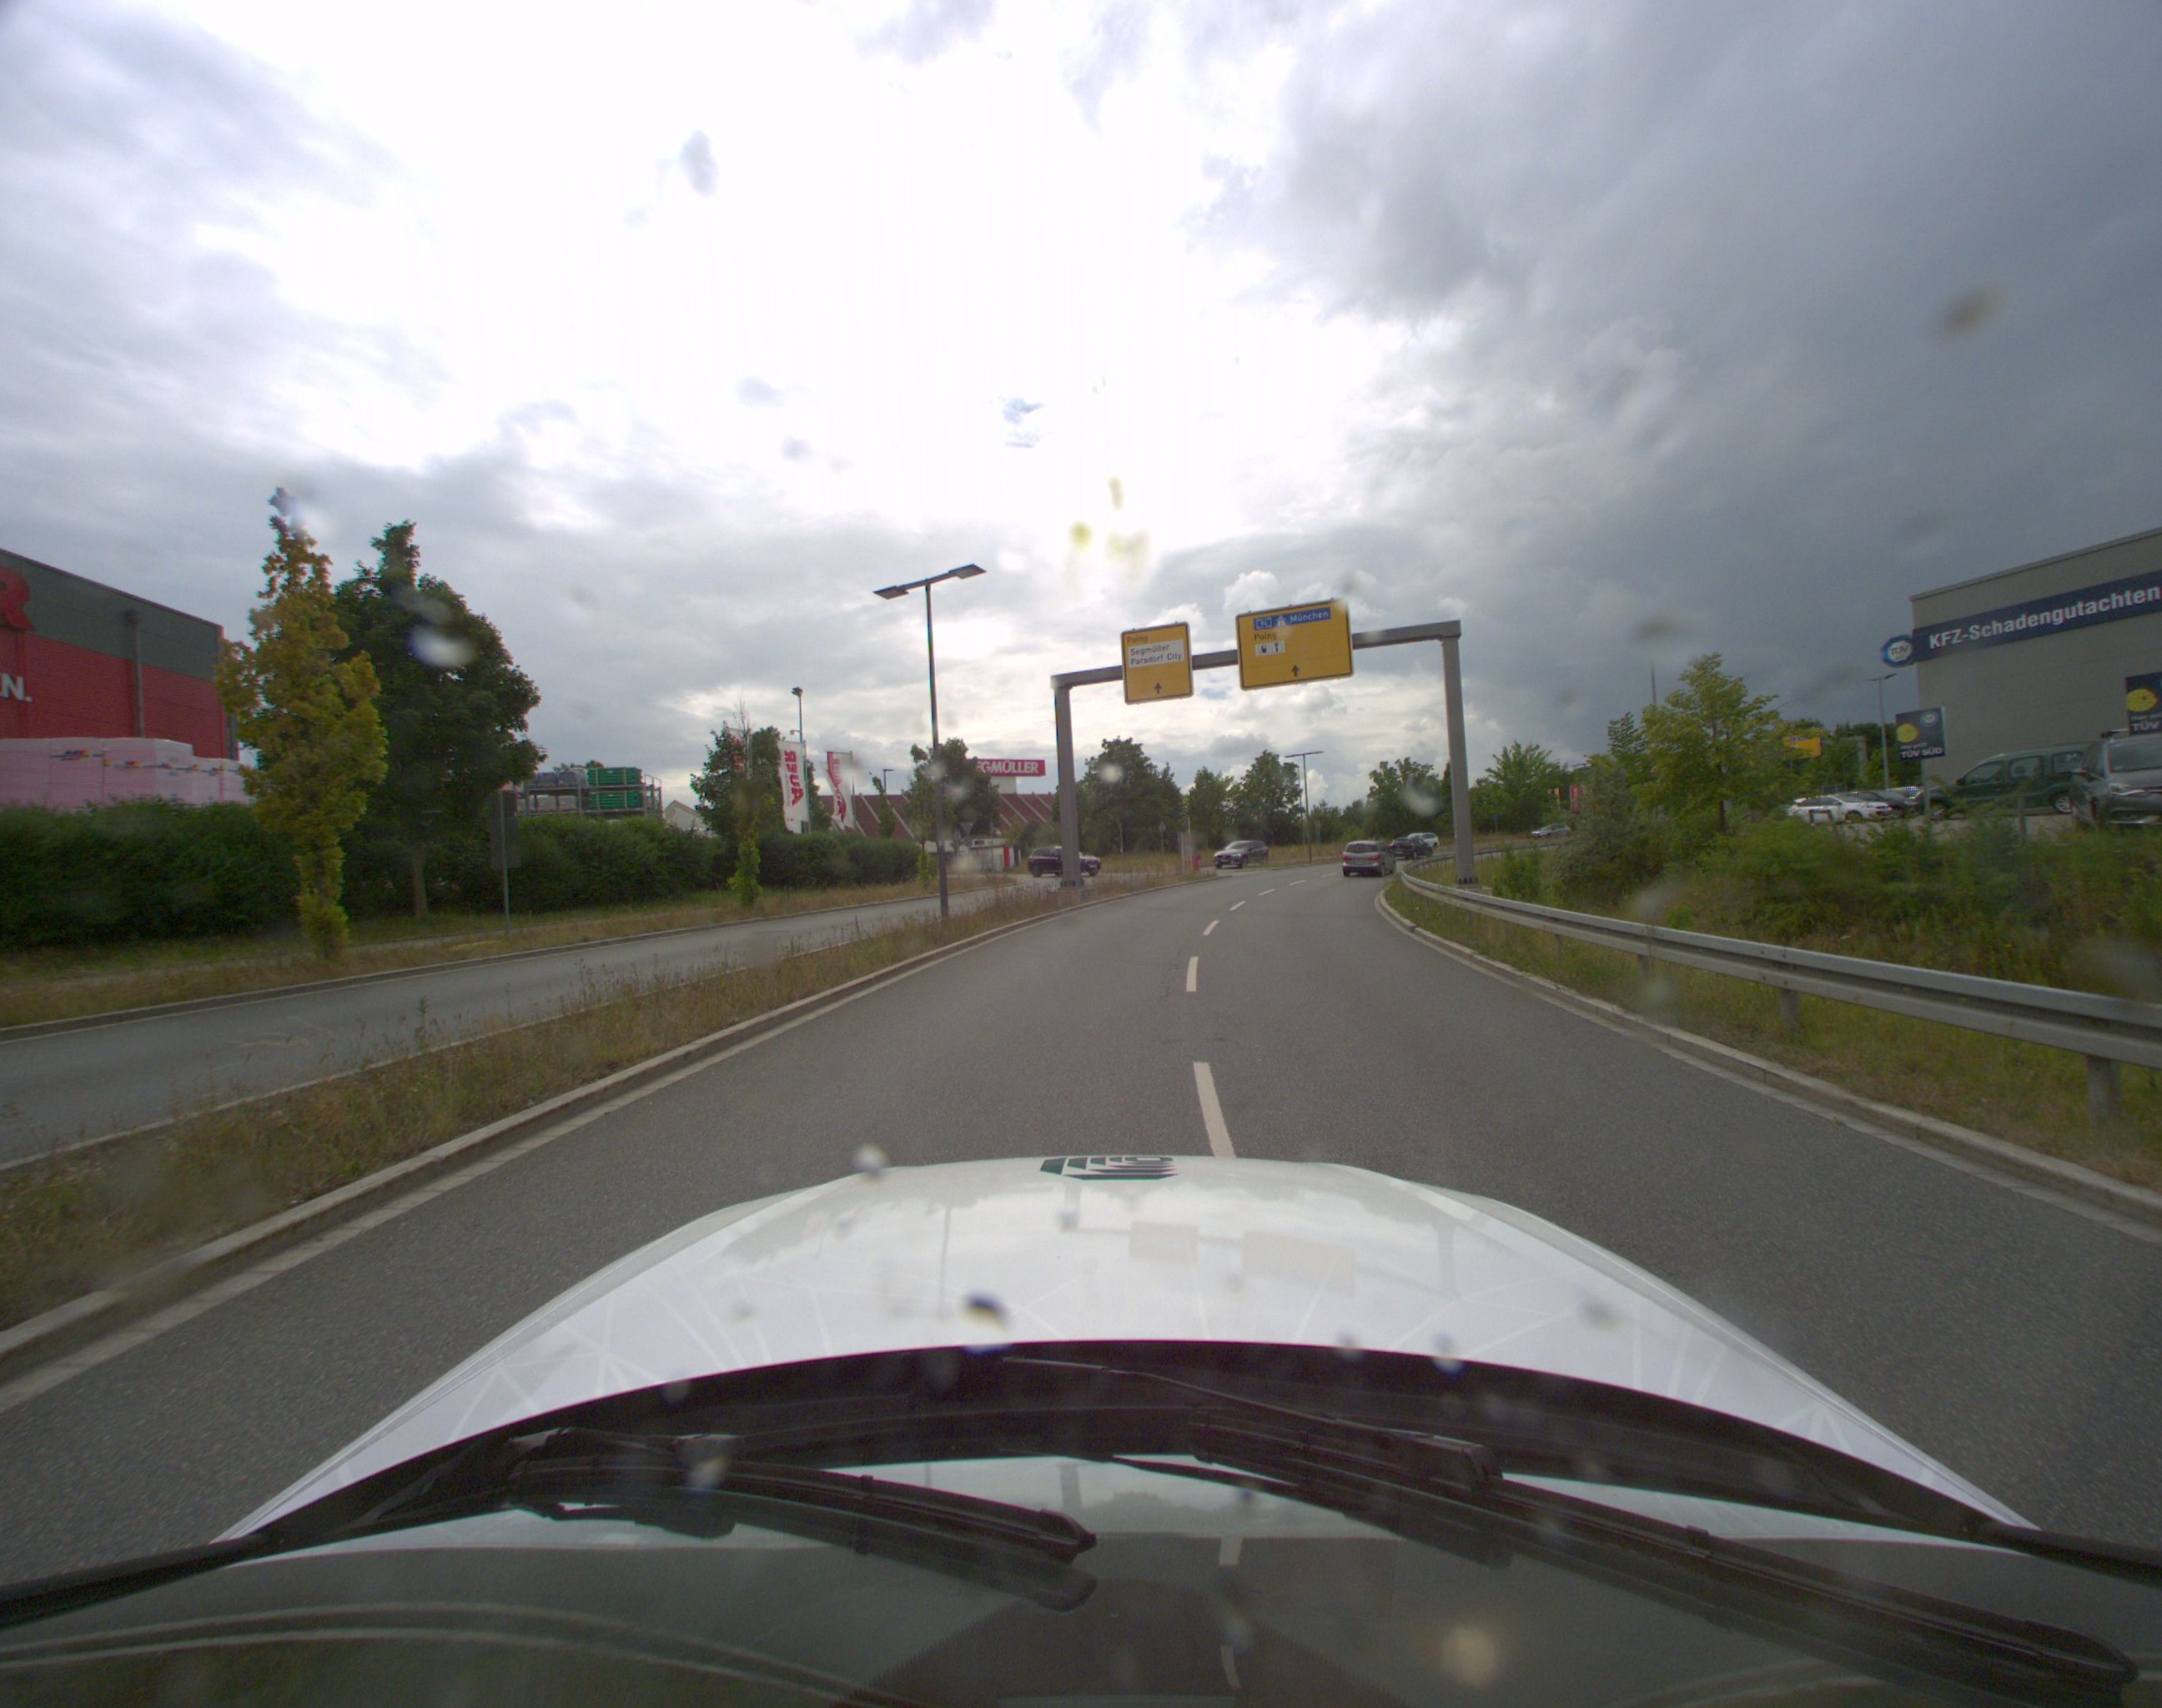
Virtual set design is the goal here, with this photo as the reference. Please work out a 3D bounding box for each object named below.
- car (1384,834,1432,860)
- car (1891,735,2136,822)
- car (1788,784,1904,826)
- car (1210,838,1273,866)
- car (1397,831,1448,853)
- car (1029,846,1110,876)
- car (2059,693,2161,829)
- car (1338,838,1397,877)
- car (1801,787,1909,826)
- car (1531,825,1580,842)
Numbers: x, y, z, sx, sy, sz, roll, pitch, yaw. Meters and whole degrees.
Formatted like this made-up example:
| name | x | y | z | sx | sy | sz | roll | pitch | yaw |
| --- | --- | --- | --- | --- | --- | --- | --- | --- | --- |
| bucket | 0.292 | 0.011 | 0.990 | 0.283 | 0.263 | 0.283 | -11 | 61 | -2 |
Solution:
| name | x | y | z | sx | sy | sz | roll | pitch | yaw |
| --- | --- | --- | --- | --- | --- | --- | --- | --- | --- |
| car | 21.603 | -0.475 | 53.765 | 1.851 | 1.605 | 3.758 | -2 | 0 | 40 |
| car | 25.094 | -1.966 | 22.140 | 1.702 | 1.811 | 3.952 | -6 | 0 | -13 |
| car | 35.968 | -2.270 | 38.394 | 1.640 | 1.538 | 3.612 | -4 | -2 | -12 |
| car | 9.942 | -0.129 | 50.209 | 1.792 | 1.629 | 4.716 | 0 | 1 | 40 |
| car | 28.680 | -0.996 | 68.379 | 4.281 | 1.634 | 1.704 | -3 | 0 | -31 |
| car | -0.650 | 0.393 | 44.473 | 4.201 | 1.549 | 1.885 | -2 | 0 | 42 |
| car | 16.679 | -1.345 | 12.553 | 4.192 | 1.782 | 1.783 | 0 | 0 | -43 |
| car | 13.235 | 0.220 | 37.484 | 1.750 | 1.617 | 3.945 | -4 | -4 | 30 |
| car | 38.076 | -2.300 | 40.157 | 1.727 | 1.635 | 3.432 | -3 | 0 | -12 |
| car | 45.330 | -1.980 | 77.828 | 4.085 | 1.486 | 1.457 | -2 | 0 | -12 |
